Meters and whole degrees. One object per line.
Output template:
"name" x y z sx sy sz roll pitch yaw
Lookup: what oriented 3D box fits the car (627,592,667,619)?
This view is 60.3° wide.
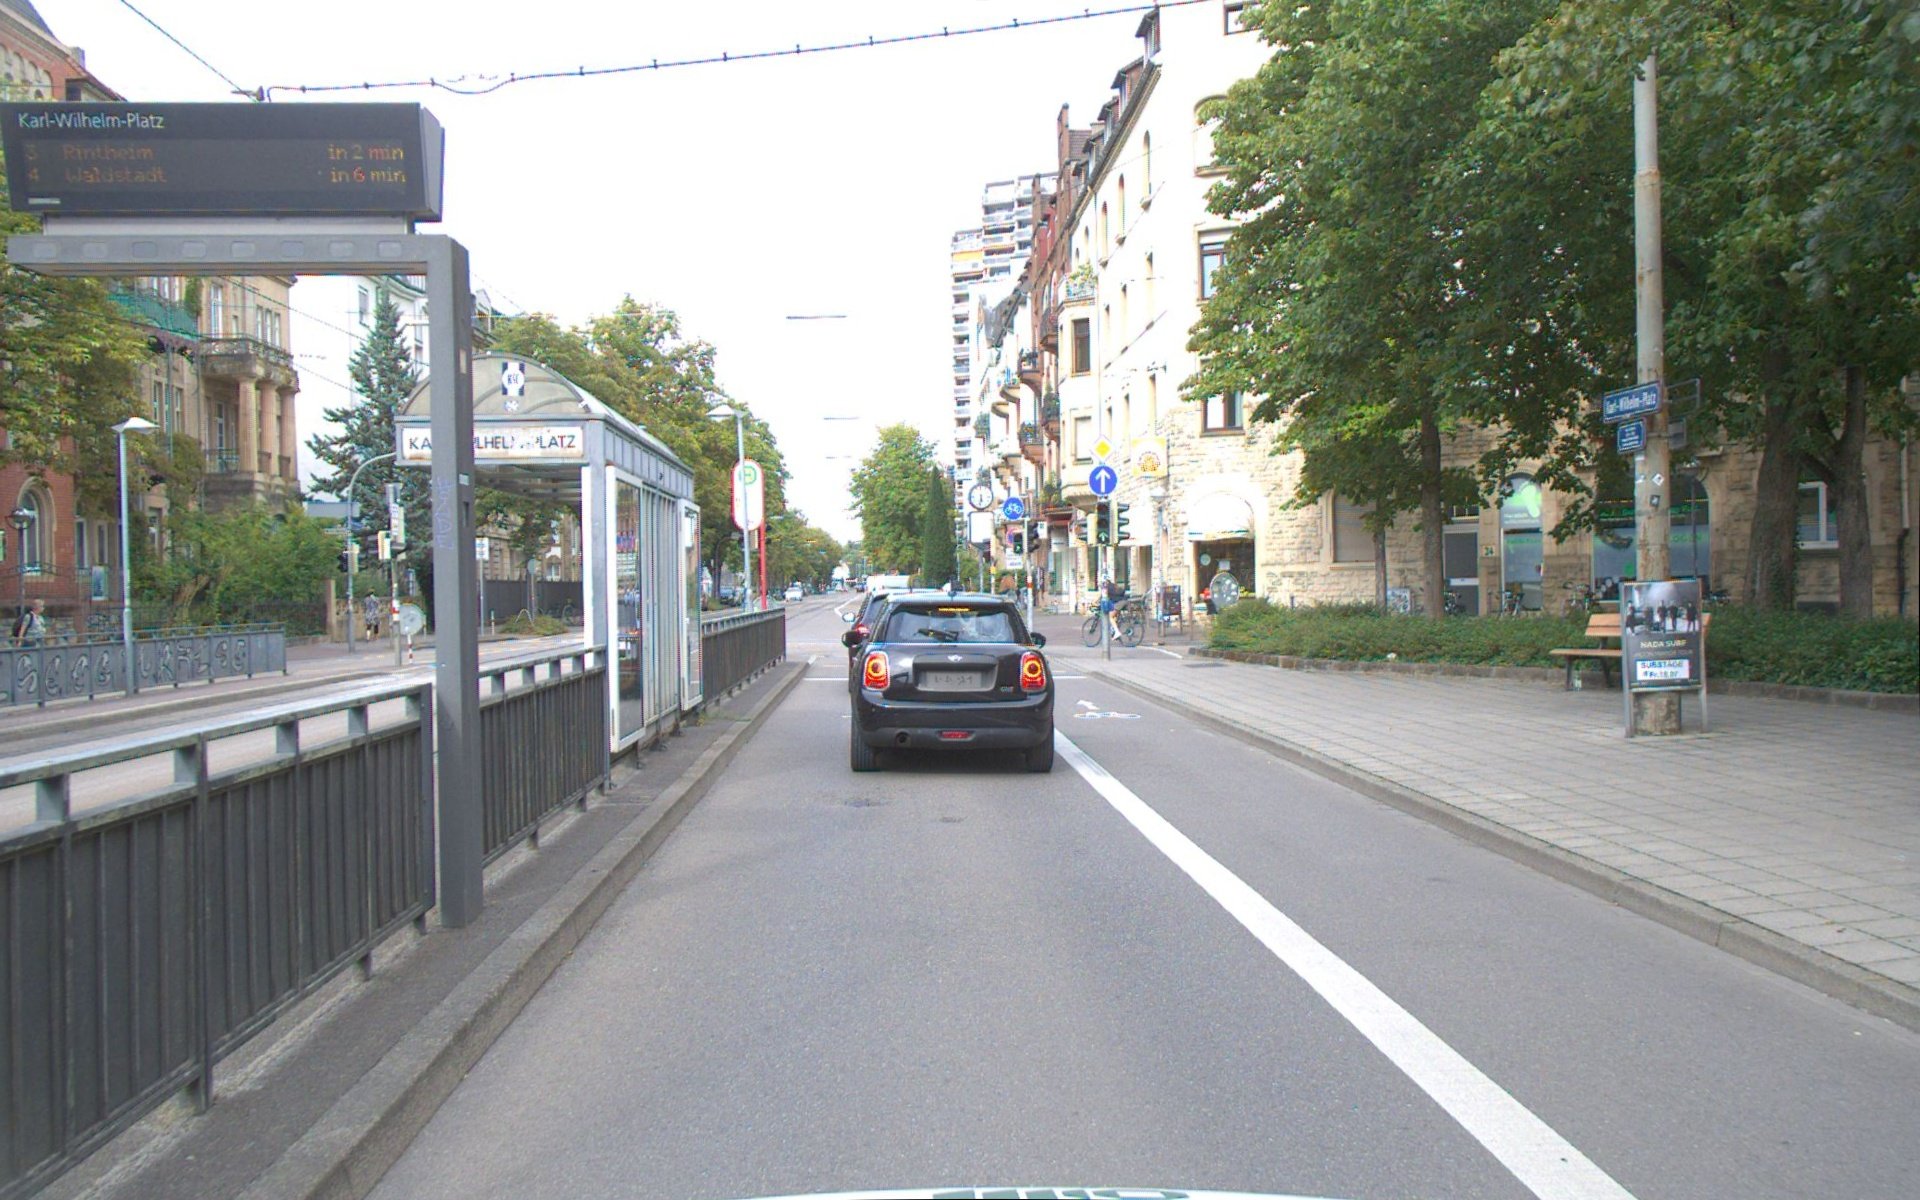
"car" -17.892 0.280 94.608 1.732 1.419 3.997 -2 1 -3

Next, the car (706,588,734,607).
"car" -20.945 -0.214 144.184 1.953 1.579 3.998 -2 1 -2

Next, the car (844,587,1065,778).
"car" -0.111 0.624 14.815 1.716 1.466 3.999 0 1 -2

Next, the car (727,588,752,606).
"car" -21.354 -0.313 160.410 1.953 1.579 3.998 -2 1 -2

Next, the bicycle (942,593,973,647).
"bicycle" -0.069 0.463 38.891 0.670 1.190 1.696 -2 1 -1

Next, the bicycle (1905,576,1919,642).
"bicycle" 17.683 0.122 29.614 1.871 1.147 0.526 -3 1 -34

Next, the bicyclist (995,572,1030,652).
"bicyclist" 1.059 0.231 33.362 0.582 1.577 1.013 -2 1 -3

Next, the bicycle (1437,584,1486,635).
"bicycle" 11.178 0.207 36.812 0.441 1.073 1.641 -1 1 39

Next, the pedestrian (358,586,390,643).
"pedestrian" -19.123 0.469 53.988 0.716 1.814 0.835 -2 0 -2

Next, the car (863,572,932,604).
"car" -4.829 -0.919 127.564 5.000 2.312 2.359 -2 1 -43

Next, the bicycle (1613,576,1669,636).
"bicycle" 13.953 0.115 33.868 0.522 1.147 1.885 -1 1 39

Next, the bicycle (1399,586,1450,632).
"bicycle" 10.658 0.198 37.936 0.591 0.989 1.666 -1 1 35

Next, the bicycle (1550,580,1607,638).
"bicycle" 12.997 0.175 34.715 0.522 1.147 1.885 -1 1 39

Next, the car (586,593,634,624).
"car" -17.432 0.407 82.597 1.732 1.419 3.997 -2 1 -3

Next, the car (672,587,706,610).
"car" -19.858 -0.092 121.250 1.953 1.579 3.998 -2 1 -2

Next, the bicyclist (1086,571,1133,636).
"bicyclist" 3.551 0.090 39.245 0.895 1.498 0.616 -2 1 29

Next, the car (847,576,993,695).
"car" -0.669 0.460 24.397 1.889 1.536 3.996 -2 1 -5

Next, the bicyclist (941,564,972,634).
"bicyclist" -0.086 -0.037 38.835 0.670 1.591 0.998 -2 1 -1

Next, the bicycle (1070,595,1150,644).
"bicycle" 3.557 0.468 39.251 1.780 1.095 0.616 -2 1 29

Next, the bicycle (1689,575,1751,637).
"bicycle" 15.031 0.107 32.700 0.655 1.147 1.885 -1 1 39

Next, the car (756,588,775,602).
"car" -23.093 -0.632 196.576 1.953 1.579 3.998 -2 1 -2

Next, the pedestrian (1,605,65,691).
"pedestrian" -18.666 0.956 33.314 0.852 1.661 0.743 -2 1 -8

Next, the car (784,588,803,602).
"car" -17.628 -0.571 175.426 1.732 1.419 3.997 -2 1 -3

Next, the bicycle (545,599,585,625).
"bicycle" -17.929 0.547 75.095 1.658 1.138 0.564 -3 1 -42

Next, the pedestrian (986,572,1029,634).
"pedestrian" 1.365 0.082 47.487 0.720 1.703 0.830 -4 1 44

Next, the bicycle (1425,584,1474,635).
"bicycle" 11.010 0.208 37.186 0.441 1.073 1.641 -1 1 39

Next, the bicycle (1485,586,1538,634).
"bicycle" 12.016 0.212 36.011 0.522 0.989 1.641 -1 1 39

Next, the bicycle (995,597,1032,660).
"bicycle" 1.071 0.564 33.369 0.586 1.190 1.696 -2 1 -2

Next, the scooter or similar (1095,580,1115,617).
"scooter or similar" 4.954 -0.055 56.586 0.498 1.209 1.261 -2 1 -2
